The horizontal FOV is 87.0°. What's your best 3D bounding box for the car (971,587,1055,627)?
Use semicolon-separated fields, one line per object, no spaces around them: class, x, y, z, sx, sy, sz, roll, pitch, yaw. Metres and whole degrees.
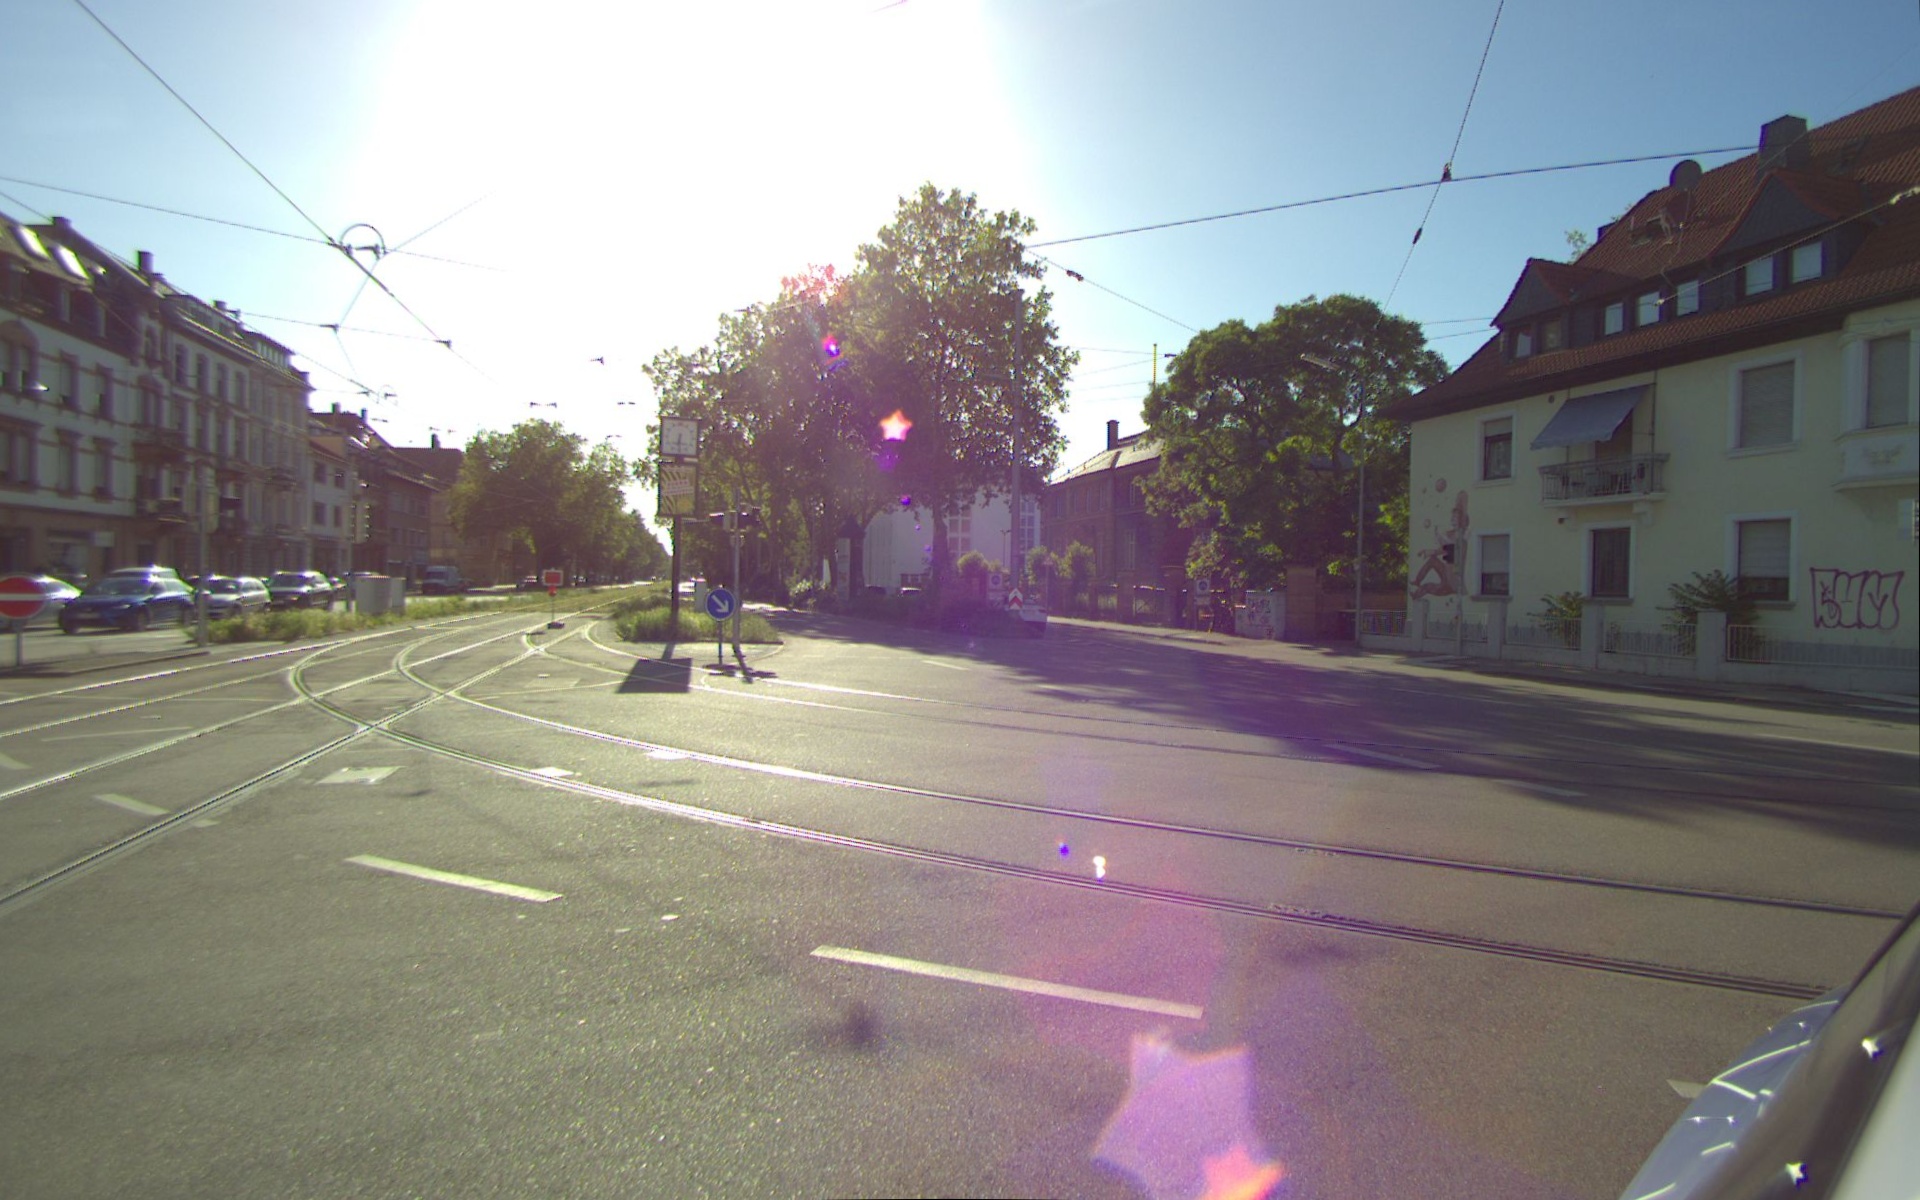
car;2.059;0.240;40.966;1.878;1.471;4.513;0;1;-18

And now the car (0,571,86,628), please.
car;-25.421;-0.054;26.877;1.807;1.430;4.009;0;1;-16

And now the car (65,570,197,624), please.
car;-27.260;-0.135;33.459;1.914;1.688;4.009;0;1;-16

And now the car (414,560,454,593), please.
car;-48.351;-2.174;93.217;2.156;2.945;5.972;0;1;-17

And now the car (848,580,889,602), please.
car;-6.360;-0.641;70.042;1.878;1.471;4.513;0;1;-18

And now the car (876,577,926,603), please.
car;-3.599;-0.618;61.085;1.878;1.471;4.513;0;1;-18

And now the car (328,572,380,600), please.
car;-42.378;-1.009;70.914;1.914;1.885;4.814;0;1;-16

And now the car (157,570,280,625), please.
car;-23.950;-0.122;32.859;1.914;1.688;4.009;0;1;-16

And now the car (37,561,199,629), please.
car;-22.640;-0.172;27.427;1.914;1.688;4.009;0;1;-16

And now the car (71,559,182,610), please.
car;-34.377;-0.642;41.906;1.914;1.989;4.428;0;1;-16

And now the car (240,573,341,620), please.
car;-25.502;-0.170;38.720;1.914;1.688;4.497;0;1;-16
